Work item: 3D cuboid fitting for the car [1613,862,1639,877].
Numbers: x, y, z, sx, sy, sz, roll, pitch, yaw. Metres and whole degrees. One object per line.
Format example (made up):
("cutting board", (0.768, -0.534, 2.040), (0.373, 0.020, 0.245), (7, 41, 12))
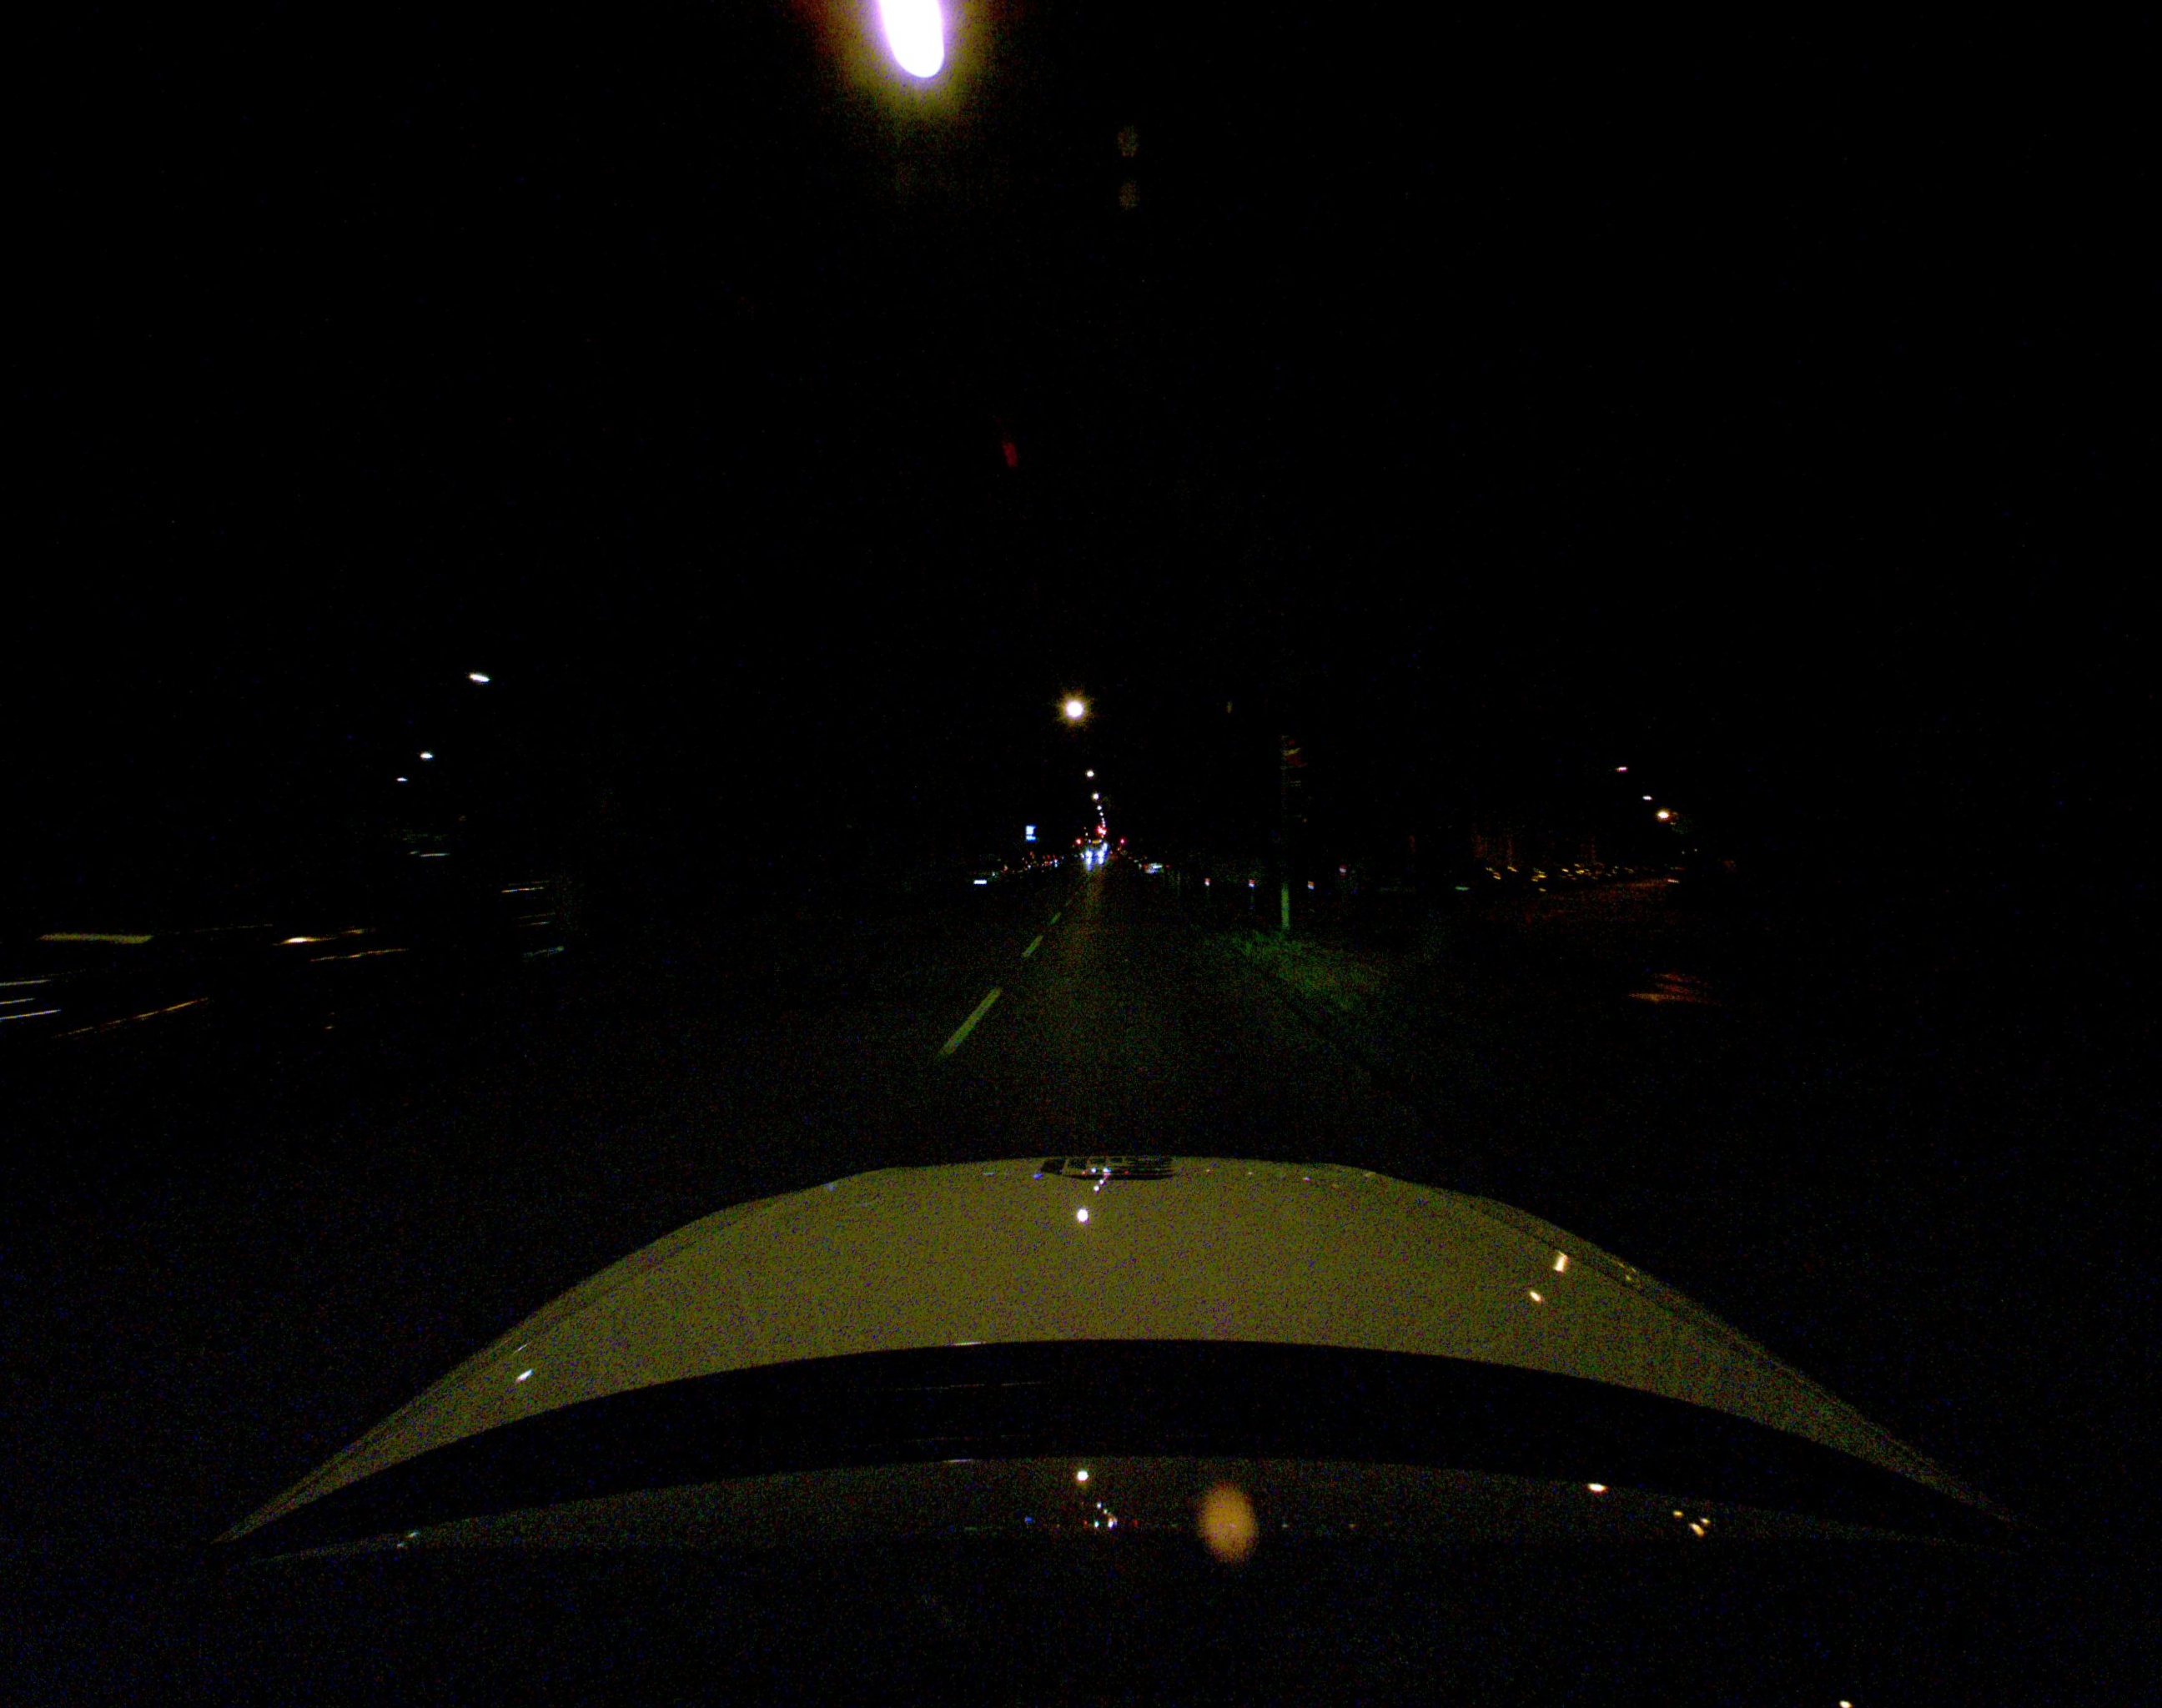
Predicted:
("car", (56.498, 1.576, 84.463), (1.838, 1.552, 4.025), (0, 0, 40))

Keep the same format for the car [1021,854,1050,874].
("car", (-3.398, 0.735, 61.158), (1.857, 1.491, 4.281), (0, 0, 1))

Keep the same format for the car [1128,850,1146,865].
("car", (6.068, 0.323, 88.758), (1.756, 1.476, 4.083), (-2, 1, 2))

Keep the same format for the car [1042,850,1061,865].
("car", (-3.087, 0.371, 85.430), (1.631, 1.498, 2.768), (-1, 0, 3))

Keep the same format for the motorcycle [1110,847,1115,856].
("motorcycle", (6.420, -0.535, 167.120), (0.927, 1.752, 2.626), (0, 0, 2))

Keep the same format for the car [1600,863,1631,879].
("car", (48.814, 1.520, 74.396), (1.752, 1.441, 3.943), (0, 0, 42))

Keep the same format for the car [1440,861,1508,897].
("car", (16.893, 1.035, 34.894), (1.779, 1.417, 3.861), (0, 0, 39))

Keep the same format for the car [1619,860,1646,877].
("car", (54.279, 1.385, 80.087), (1.849, 1.618, 4.025), (0, 0, 40))

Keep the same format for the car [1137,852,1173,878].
("car", (4.509, 0.659, 50.322), (1.838, 1.417, 4.646), (-4, 0, 1))

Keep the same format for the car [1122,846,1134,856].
("car", (7.882, -0.586, 137.433), (1.805, 1.594, 4.276), (-2, 1, 2))

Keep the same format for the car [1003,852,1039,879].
("car", (-3.823, 0.697, 52.845), (1.828, 1.619, 4.547), (0, 0, 2))

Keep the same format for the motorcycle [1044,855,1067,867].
("motorcycle", (-2.487, 0.673, 79.975), (2.180, 1.131, 0.720), (-1, 1, 35))

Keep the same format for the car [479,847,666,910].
("car", (-13.292, 0.605, 21.376), (3.961, 1.425, 1.767), (2, 0, 11))

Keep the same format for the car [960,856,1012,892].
("car", (-4.266, 0.868, 37.139), (1.808, 1.484, 4.348), (0, 0, 0))

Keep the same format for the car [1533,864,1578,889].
("car", (28.598, 1.343, 49.041), (1.752, 1.417, 3.944), (0, 0, 39))

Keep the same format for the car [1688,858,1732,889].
("car", (37.182, 1.110, 48.093), (1.974, 1.704, 4.056), (0, 0, 39))

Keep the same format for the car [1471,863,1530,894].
("car", (20.419, 1.139, 39.579), (1.779, 1.417, 3.861), (0, 0, 39))

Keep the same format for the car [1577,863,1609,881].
("car", (42.103, 1.460, 66.950), (1.752, 1.441, 3.944), (0, 0, 39))

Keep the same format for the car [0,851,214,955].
("car", (-14.509, 0.622, 11.095), (1.551, 1.317, 3.562), (0, 0, 0))

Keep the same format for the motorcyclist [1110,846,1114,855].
("motorcyclist", (6.418, -0.772, 167.126), (0.845, 1.752, 0.806), (0, -1, 2))

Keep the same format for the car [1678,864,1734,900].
("car", (26.992, 1.157, 35.121), (1.779, 1.417, 3.861), (0, 0, 39))

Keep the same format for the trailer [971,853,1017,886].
("trailer", (-4.398, 0.762, 41.652), (1.629, 1.639, 3.445), (0, 0, 6))

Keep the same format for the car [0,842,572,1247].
("car", (-5.362, 0.776, 4.820), (1.843, 1.650, 4.668), (0, 0, -2))

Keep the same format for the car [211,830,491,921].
("car", (-14.388, 0.383, 16.457), (1.750, 1.538, 4.188), (2, 0, 1))

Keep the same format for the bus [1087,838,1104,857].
("bus", (2.661, -1.162, 143.018), (2.826, 3.177, 10.504), (0, 1, 2))

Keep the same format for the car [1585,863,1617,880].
("car", (45.359, 1.490, 71.008), (1.752, 1.441, 3.943), (0, 0, 42))

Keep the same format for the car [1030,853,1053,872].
("car", (-3.178, 0.649, 65.978), (1.616, 1.491, 3.781), (0, 0, 1))

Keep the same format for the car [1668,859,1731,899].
("car", (23.666, 0.920, 31.125), (1.779, 1.417, 3.861), (0, 0, 39))

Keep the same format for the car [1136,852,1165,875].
("car", (4.743, 0.640, 55.931), (1.764, 1.448, 4.021), (-1, 0, 1))

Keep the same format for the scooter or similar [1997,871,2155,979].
("scooter or similar", (11.788, 0.798, 9.715), (0.494, 1.146, 1.676), (-3, -2, 26))

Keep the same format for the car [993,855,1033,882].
("car", (-3.922, 0.811, 47.673), (1.829, 1.446, 4.545), (-1, 1, 1))

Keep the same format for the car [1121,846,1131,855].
("car", (8.315, -0.701, 150.922), (1.861, 1.526, 4.152), (-2, 1, 2))

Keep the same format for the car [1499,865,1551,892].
("car", (23.863, 1.263, 43.732), (1.752, 1.341, 3.944), (0, 0, 39))

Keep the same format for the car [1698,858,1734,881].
("car", (51.090, 1.247, 65.602), (1.974, 1.802, 4.025), (0, 0, 33))

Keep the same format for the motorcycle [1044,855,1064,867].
("motorcycle", (-2.612, 0.691, 77.958), (0.719, 1.147, 2.183), (-2, 1, -40))

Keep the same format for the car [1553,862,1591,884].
("car", (34.612, 1.302, 57.336), (1.752, 1.501, 3.944), (0, 0, 39))

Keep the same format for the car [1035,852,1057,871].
("car", (-3.114, 0.657, 73.718), (1.698, 1.491, 4.229), (-2, 1, 1))

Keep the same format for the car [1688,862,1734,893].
("car", (34.036, 1.242, 43.945), (1.779, 1.579, 3.861), (0, 0, 41))

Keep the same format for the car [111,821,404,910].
("car", (-17.150, 0.228, 17.280), (1.745, 1.606, 3.992), (2, 0, 11))
